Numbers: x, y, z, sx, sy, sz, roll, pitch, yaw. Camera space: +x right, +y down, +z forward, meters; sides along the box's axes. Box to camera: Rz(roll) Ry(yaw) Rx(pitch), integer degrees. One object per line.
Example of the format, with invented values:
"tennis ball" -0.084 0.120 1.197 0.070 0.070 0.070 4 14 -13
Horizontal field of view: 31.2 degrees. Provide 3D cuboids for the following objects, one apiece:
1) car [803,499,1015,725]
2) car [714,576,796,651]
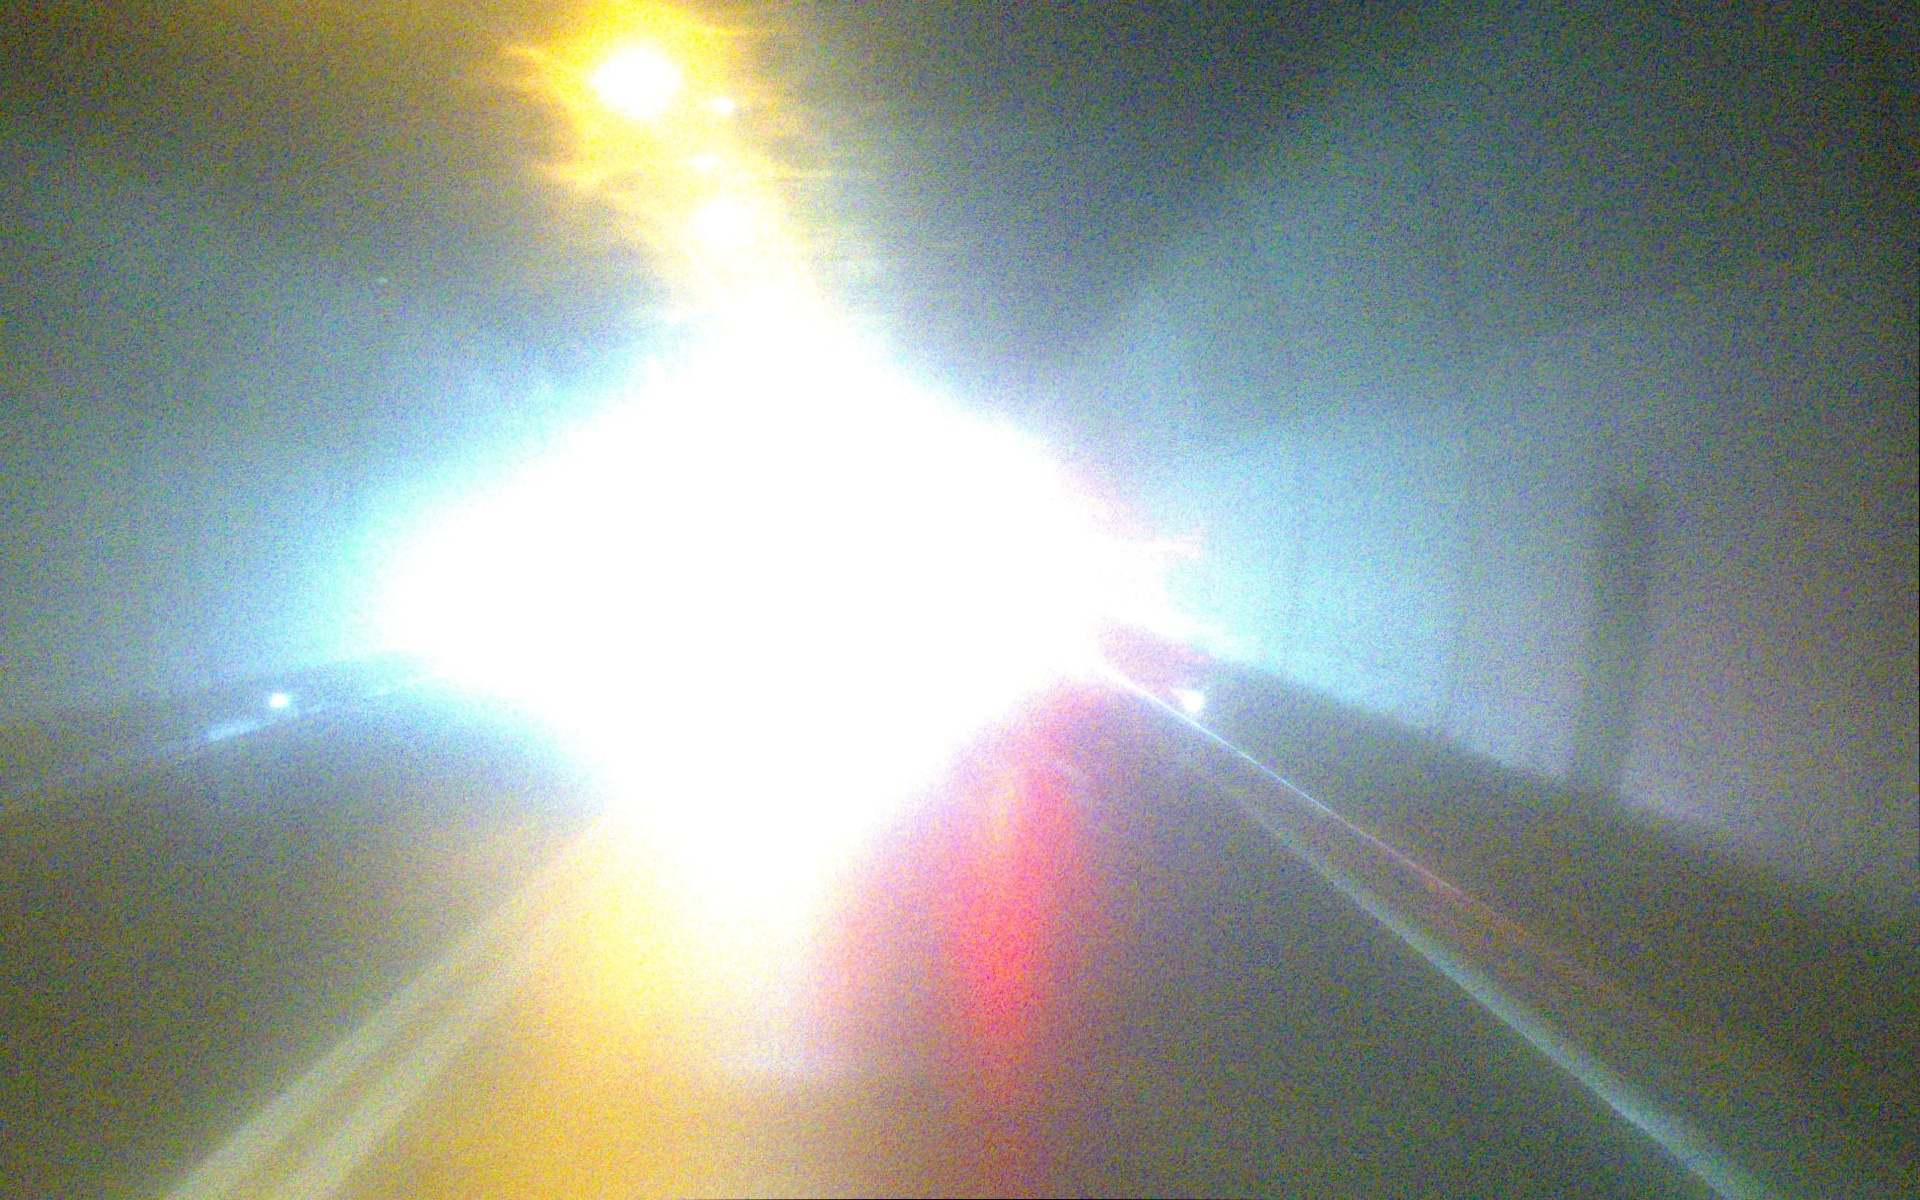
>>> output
"car" -0.394 0.034 28.977 1.635 1.752 4.146 -1 2 0
"car" -4.753 0.287 80.074 1.635 1.597 4.146 -1 2 0
